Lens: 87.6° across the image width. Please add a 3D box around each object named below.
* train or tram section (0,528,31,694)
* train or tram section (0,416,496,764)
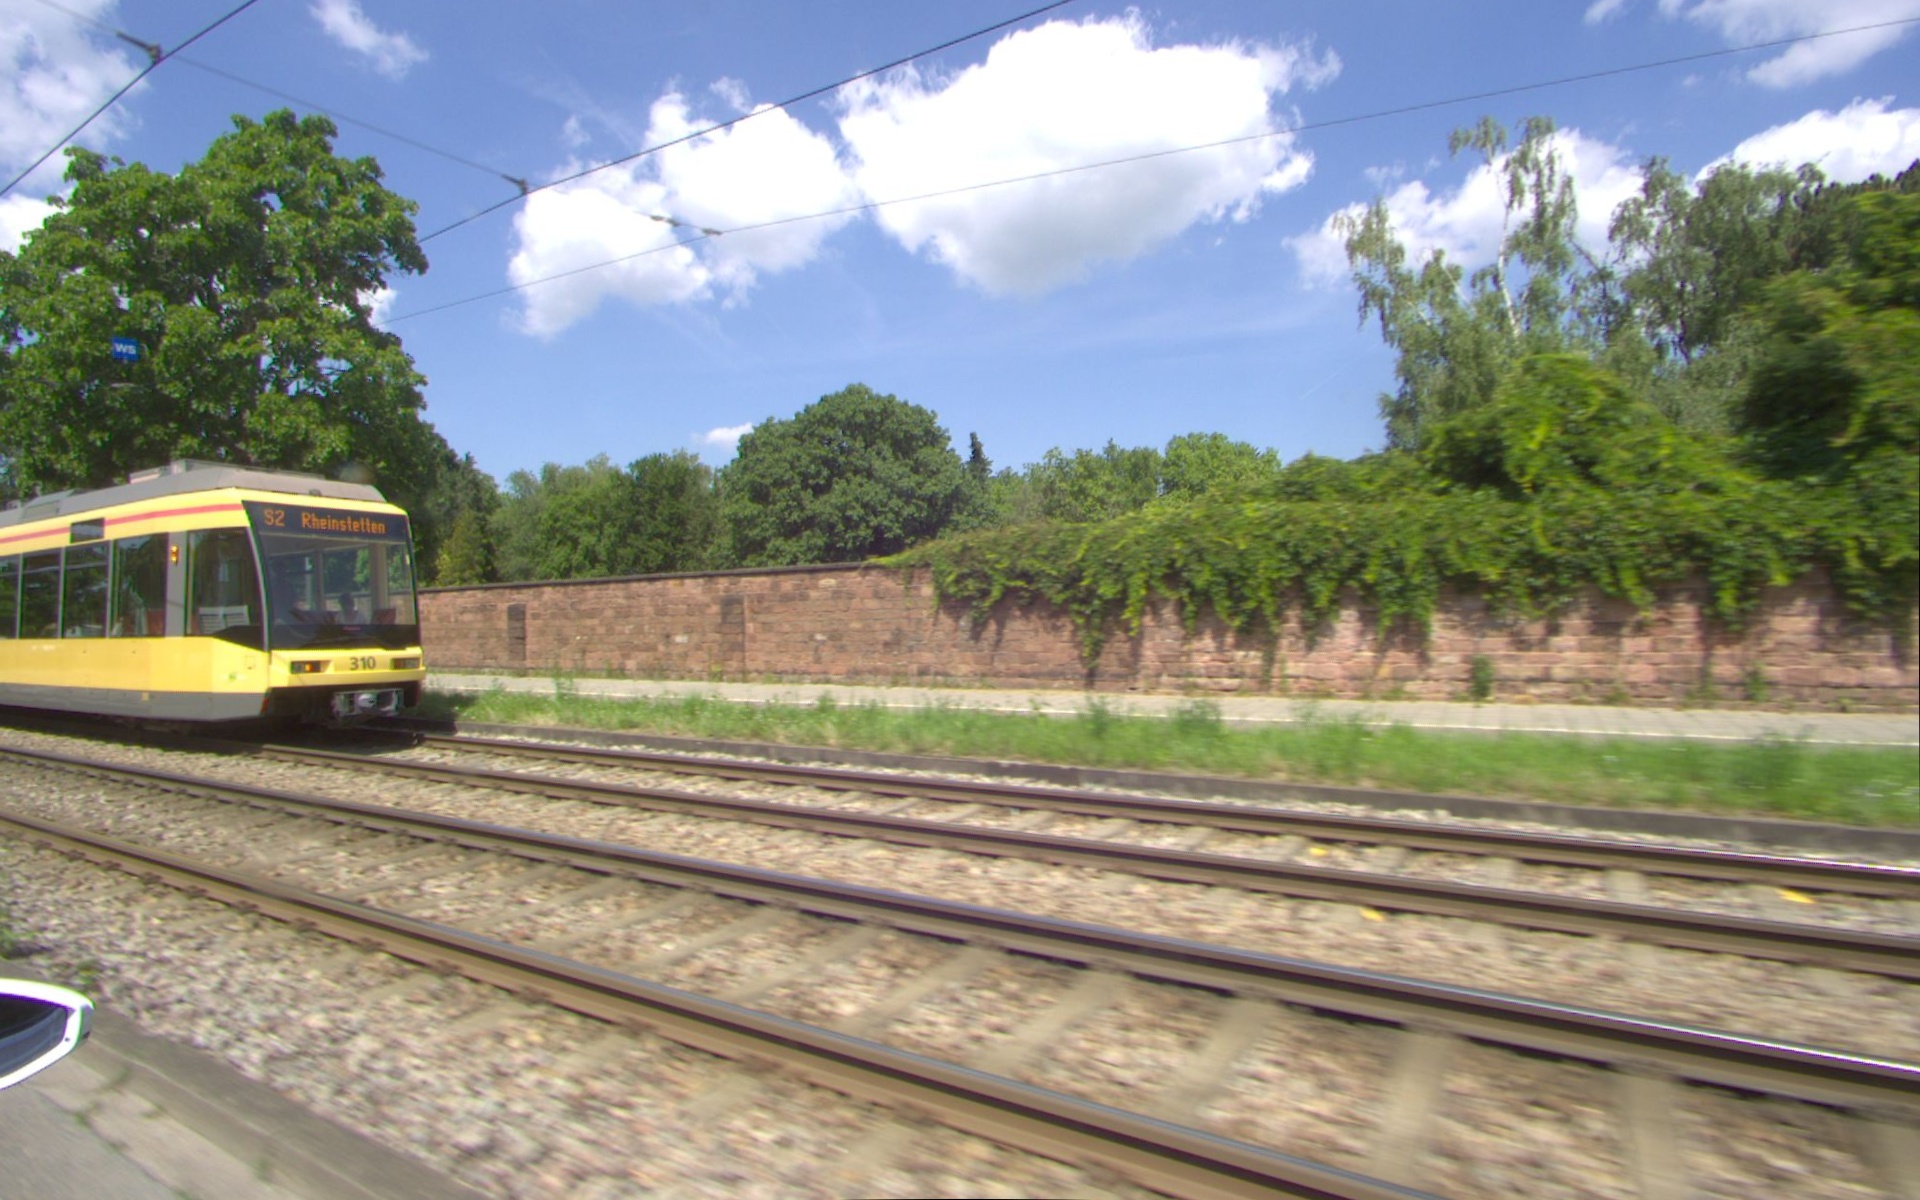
[{"bbox_3d":[-30.674,0.385,27.057,19.989,3.739,2.939,-1,-1,32],"label":"train or tram section"},{"bbox_3d":[-14.547,0.079,16.905,18.128,3.739,2.938,-1,-1,33],"label":"train or tram section"}]
